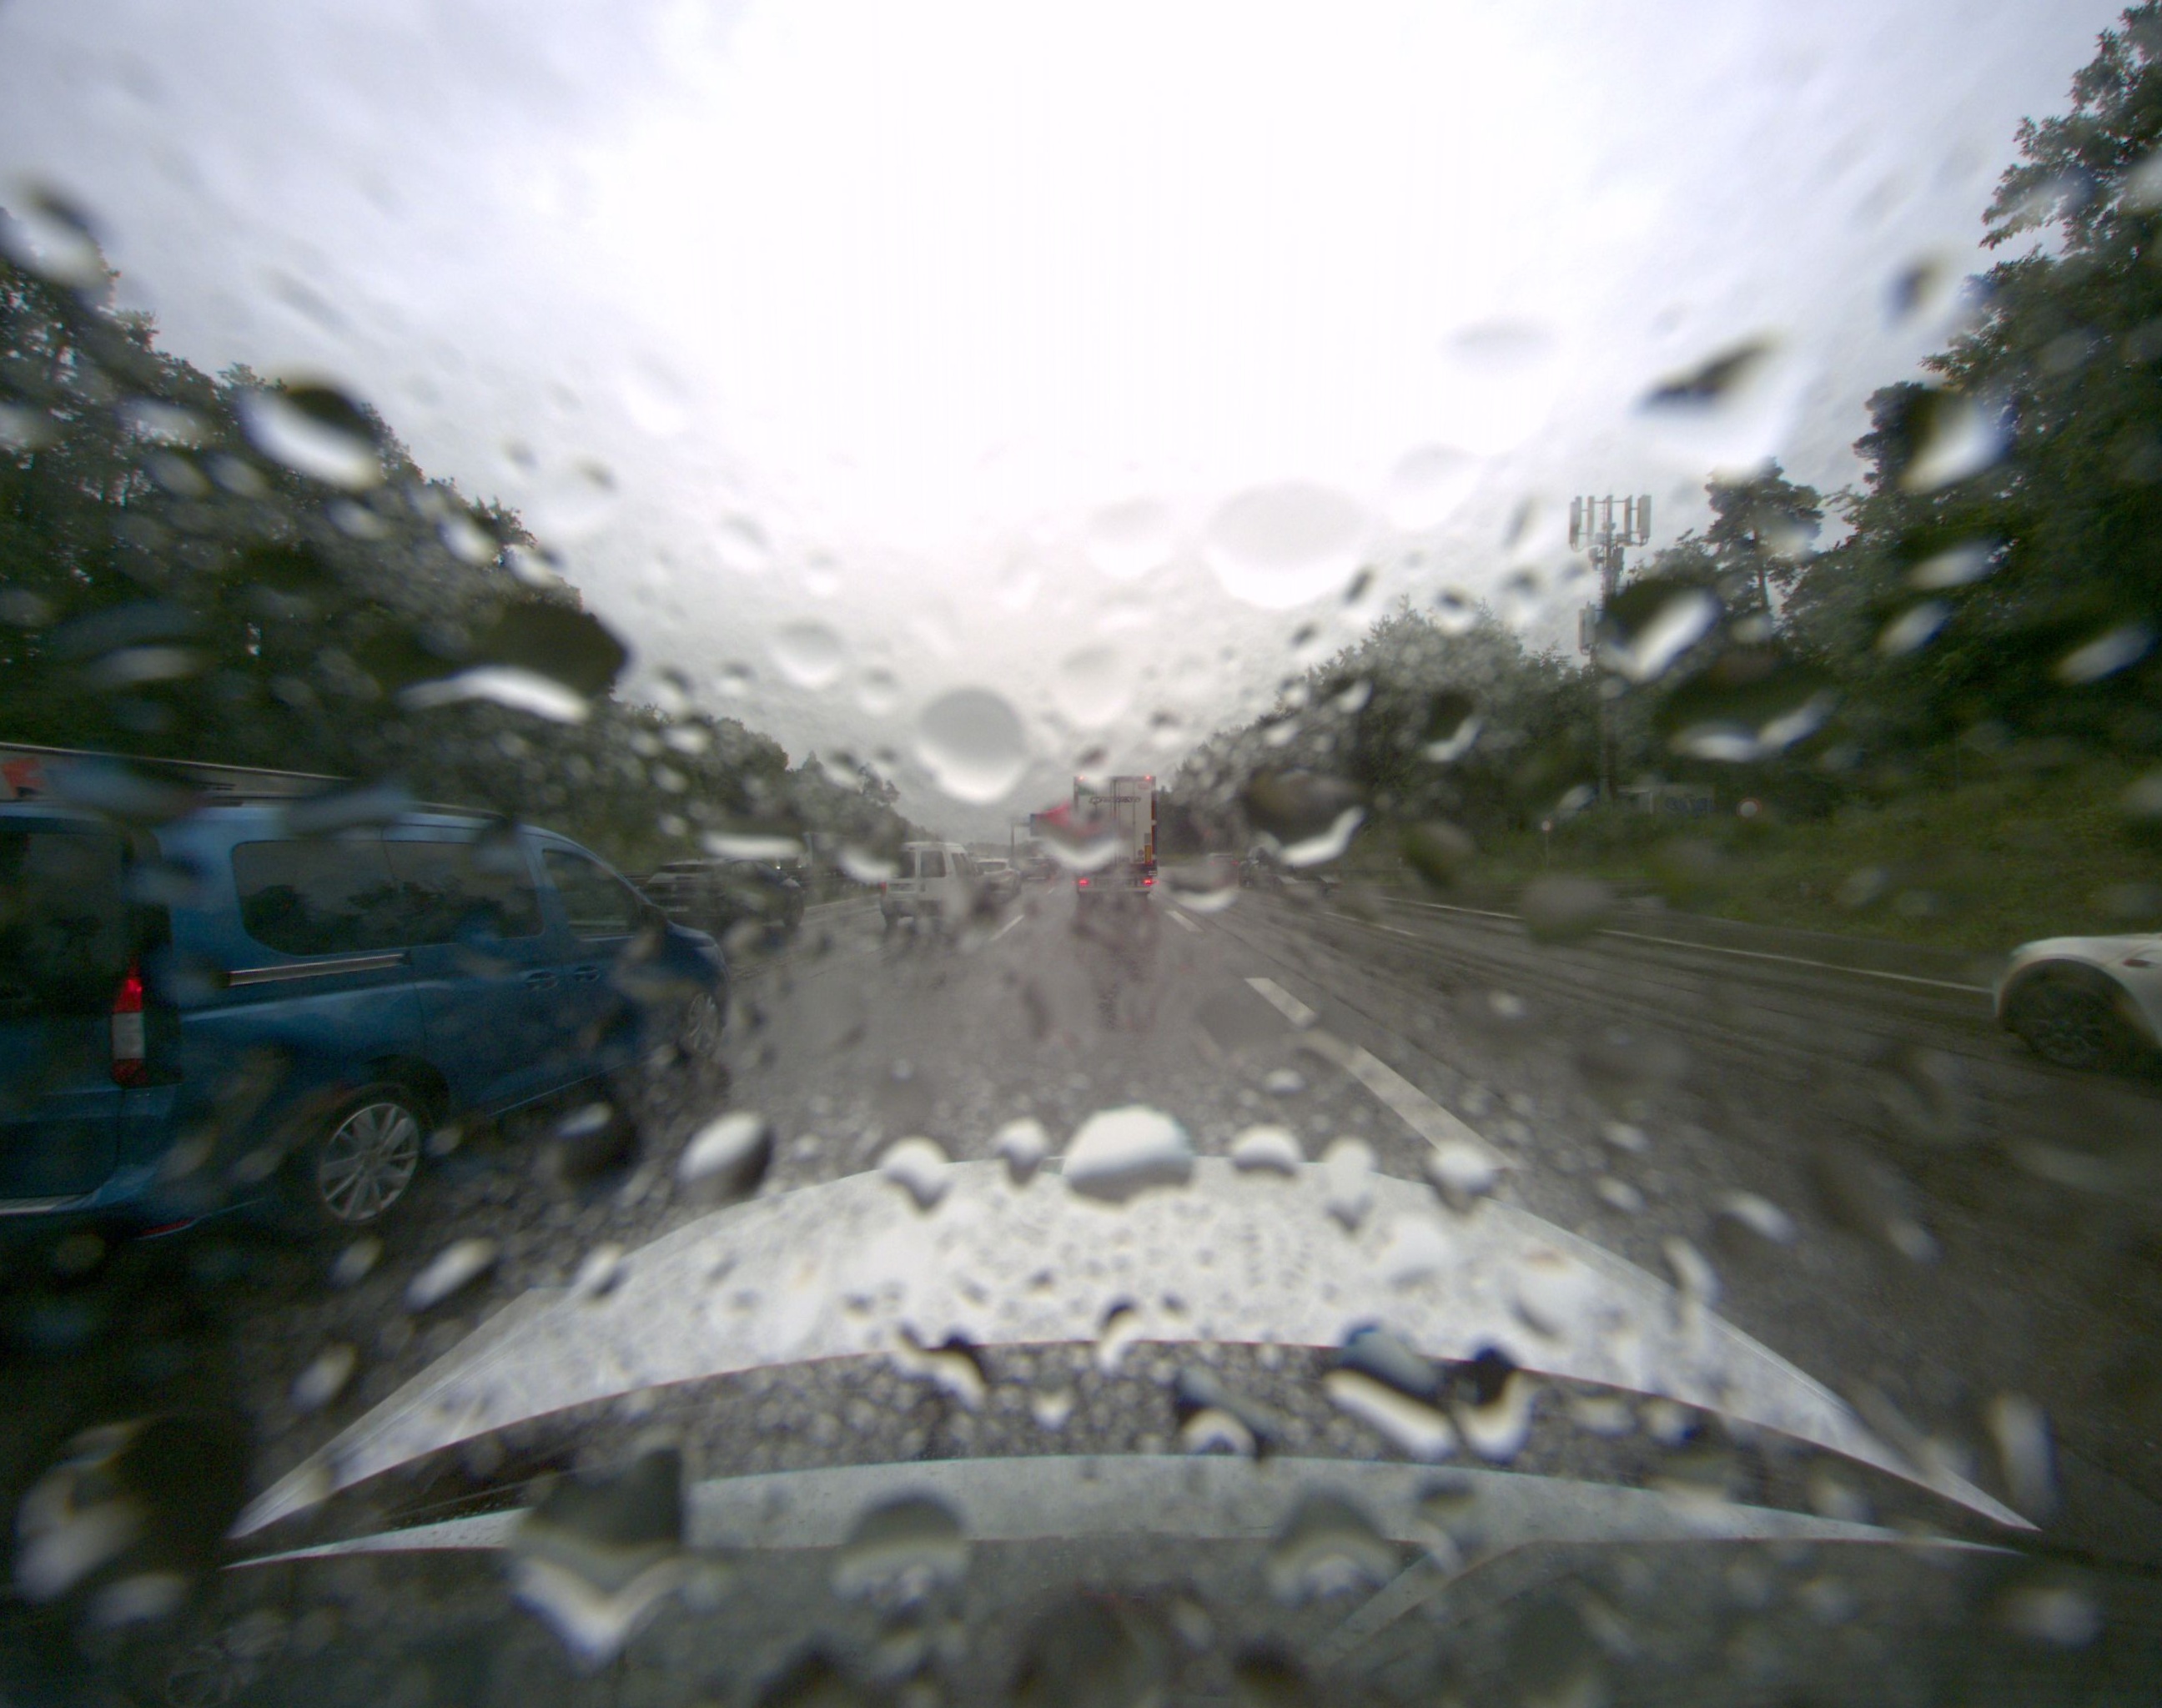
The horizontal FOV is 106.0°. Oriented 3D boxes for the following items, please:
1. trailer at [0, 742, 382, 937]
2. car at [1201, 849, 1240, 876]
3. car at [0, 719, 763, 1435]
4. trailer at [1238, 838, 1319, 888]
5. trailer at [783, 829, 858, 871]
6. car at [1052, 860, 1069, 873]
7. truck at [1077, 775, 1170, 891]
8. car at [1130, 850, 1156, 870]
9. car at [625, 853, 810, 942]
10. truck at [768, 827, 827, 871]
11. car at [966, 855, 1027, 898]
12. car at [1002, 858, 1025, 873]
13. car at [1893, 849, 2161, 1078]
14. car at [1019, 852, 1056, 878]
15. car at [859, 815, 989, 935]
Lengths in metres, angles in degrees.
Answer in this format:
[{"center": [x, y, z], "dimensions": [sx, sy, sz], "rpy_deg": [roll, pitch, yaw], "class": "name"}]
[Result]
[{"center": [-22.431, -0.277, 19.894], "dimensions": [2.673, 3.818, 9.010], "rpy_deg": [-1, 0, 2], "class": "trailer"}, {"center": [8.714, 0.484, 51.229], "dimensions": [1.981, 1.583, 4.772], "rpy_deg": [-1, 0, 4], "class": "car"}, {"center": [-3.886, 0.596, 4.145], "dimensions": [2.259, 1.912, 5.021], "rpy_deg": [-1, 0, 4], "class": "car"}, {"center": [7.277, 0.303, 30.568], "dimensions": [2.232, 1.714, 5.090], "rpy_deg": [-1, 0, 5], "class": "trailer"}, {"center": [-25.818, -0.413, 81.567], "dimensions": [3.014, 3.818, 13.559], "rpy_deg": [-1, 0, 0], "class": "trailer"}, {"center": [-2.250, 1.360, 90.526], "dimensions": [1.840, 1.330, 4.465], "rpy_deg": [-1, 0, 0], "class": "car"}, {"center": [1.548, -0.608, 30.967], "dimensions": [2.861, 3.562, 11.307], "rpy_deg": [-1, 0, 2], "class": "truck"}, {"center": [4.687, 0.428, 61.725], "dimensions": [1.882, 1.425, 4.486], "rpy_deg": [-1, 0, 3], "class": "car"}, {"center": [-7.396, 0.800, 17.138], "dimensions": [1.839, 1.591, 4.467], "rpy_deg": [-1, 0, 1], "class": "car"}, {"center": [-25.885, -0.421, 74.639], "dimensions": [3.009, 3.818, 6.265], "rpy_deg": [-1, 0, 1], "class": "truck"}, {"center": [-3.348, 0.858, 33.110], "dimensions": [1.838, 1.591, 4.075], "rpy_deg": [-1, 0, 3], "class": "car"}, {"center": [-6.590, 1.104, 79.959], "dimensions": [1.840, 1.330, 4.465], "rpy_deg": [-1, 0, 0], "class": "car"}, {"center": [7.581, 0.679, 4.618], "dimensions": [1.784, 1.407, 4.228], "rpy_deg": [-1, 0, 1], "class": "car"}, {"center": [-2.767, 0.657, 52.447], "dimensions": [1.837, 1.591, 4.471], "rpy_deg": [-1, 0, 4], "class": "car"}, {"center": [-3.694, 0.438, 20.147], "dimensions": [2.206, 2.573, 5.015], "rpy_deg": [-1, 0, 0], "class": "car"}]
